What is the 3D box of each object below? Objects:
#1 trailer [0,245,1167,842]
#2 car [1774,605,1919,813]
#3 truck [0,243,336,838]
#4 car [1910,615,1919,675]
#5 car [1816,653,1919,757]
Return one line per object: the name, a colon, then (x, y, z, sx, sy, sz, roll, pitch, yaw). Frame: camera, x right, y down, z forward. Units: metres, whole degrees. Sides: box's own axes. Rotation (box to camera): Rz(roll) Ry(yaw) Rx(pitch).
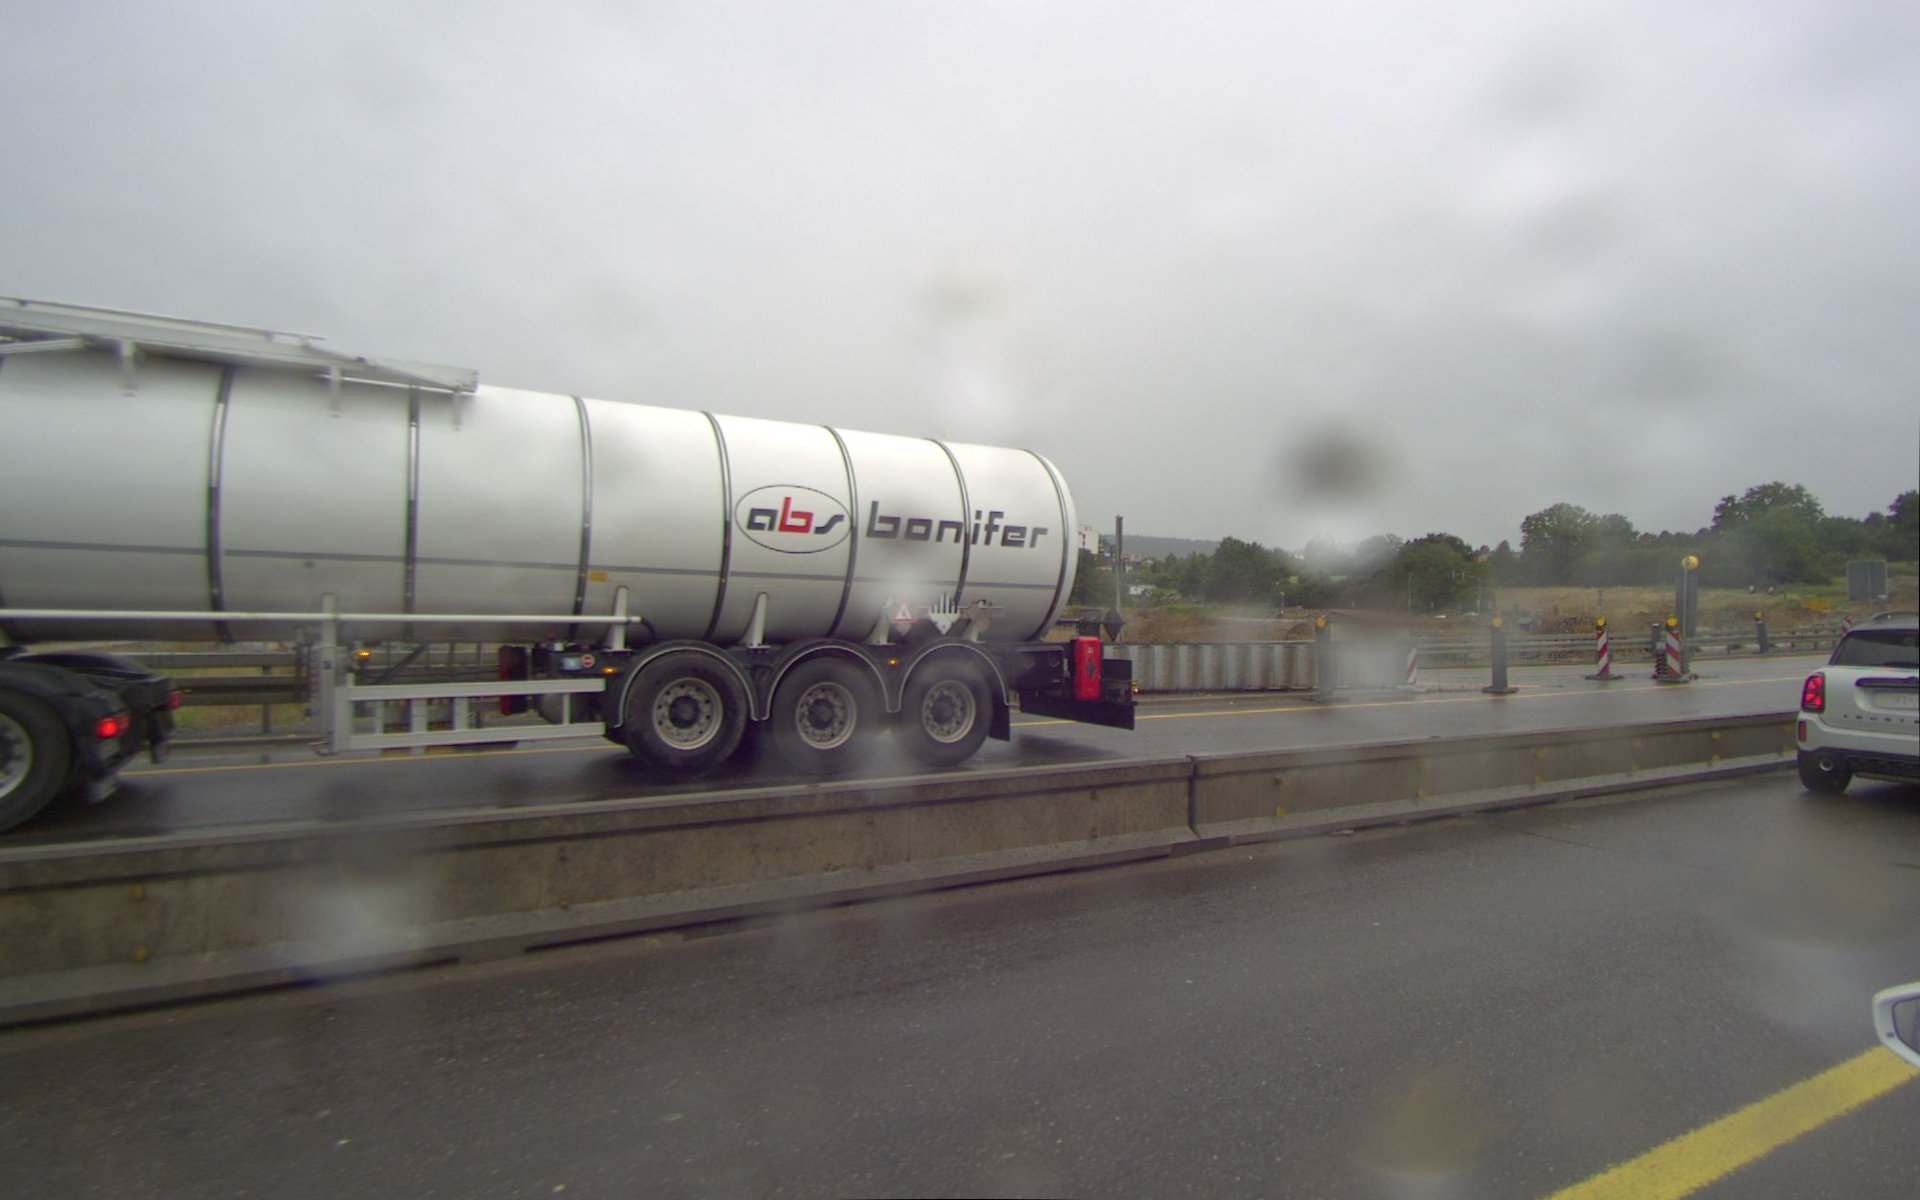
trailer: (-3.469, -0.261, 9.279, 11.863, 3.726, 2.608, 2, -1, -31)
car: (9.288, 0.884, 8.953, 4.258, 1.621, 1.807, 1, -1, -31)
truck: (-8.042, -0.406, 6.597, 6.518, 3.726, 2.608, 2, -1, -30)
car: (26.861, 1.179, 26.353, 3.953, 1.567, 1.779, 1, 0, -30)
car: (16.829, 1.733, 17.301, 4.624, 1.524, 1.764, 1, -1, -30)
